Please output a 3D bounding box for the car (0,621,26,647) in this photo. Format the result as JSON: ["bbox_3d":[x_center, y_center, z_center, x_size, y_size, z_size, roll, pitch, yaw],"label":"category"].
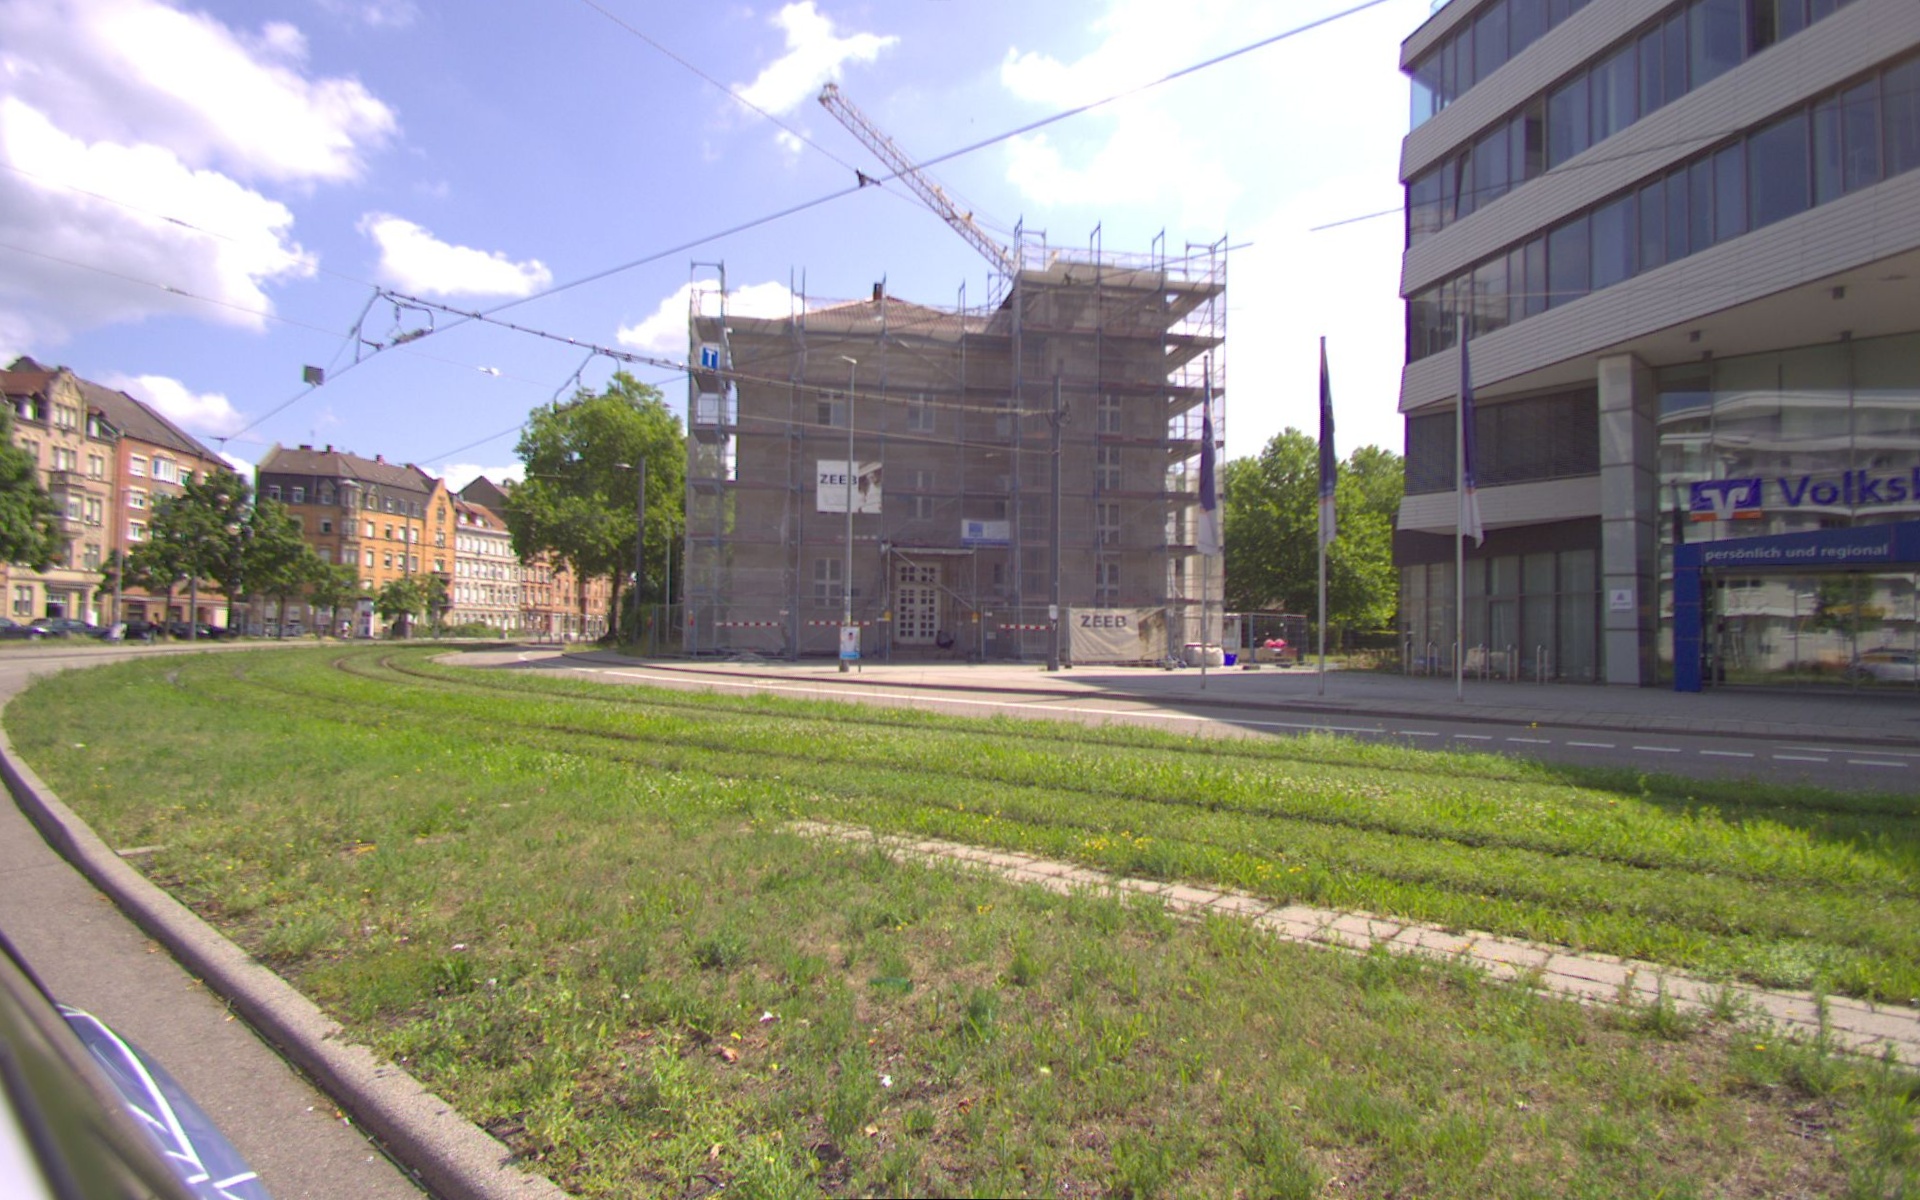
[{"bbox_3d":[-62.954,2.204,65.304,1.808,1.628,4.505,0,-2,-10],"label":"car"}]

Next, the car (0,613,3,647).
[{"bbox_3d":[-51.269,1.522,51.029,1.853,1.754,4.303,-2,-2,43],"label":"car"}]

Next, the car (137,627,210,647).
[{"bbox_3d":[-55.315,2.596,71.203,3.939,1.391,1.963,1,-2,-43],"label":"car"}]

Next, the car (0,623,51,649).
[{"bbox_3d":[-52.140,1.966,54.819,1.853,1.391,4.208,-2,-2,43],"label":"car"}]

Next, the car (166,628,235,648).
[{"bbox_3d":[-55.933,2.800,74.591,3.932,1.364,1.967,1,-2,-33],"label":"car"}]

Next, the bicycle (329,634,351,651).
[{"bbox_3d":[-49.365,3.373,80.572,0.685,1.251,1.842,5,-4,-7],"label":"bicycle"}]

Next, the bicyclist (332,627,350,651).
[{"bbox_3d":[-49.356,3.102,80.684,0.686,1.838,0.958,5,-4,-7],"label":"bicyclist"}]

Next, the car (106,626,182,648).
[{"bbox_3d":[-54.826,2.492,68.064,3.935,1.391,1.965,1,-2,-38],"label":"car"}]

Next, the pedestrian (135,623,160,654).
[{"bbox_3d":[-46.260,2.171,57.641,0.691,1.717,1.047,1,0,-12],"label":"pedestrian"}]

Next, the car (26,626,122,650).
[{"bbox_3d":[-53.408,2.259,61.082,1.853,1.391,4.208,-2,-2,43],"label":"car"}]

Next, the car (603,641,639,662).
[{"bbox_3d":[-23.628,3.555,70.662,1.900,1.379,4.328,-1,-2,-12],"label":"car"}]
